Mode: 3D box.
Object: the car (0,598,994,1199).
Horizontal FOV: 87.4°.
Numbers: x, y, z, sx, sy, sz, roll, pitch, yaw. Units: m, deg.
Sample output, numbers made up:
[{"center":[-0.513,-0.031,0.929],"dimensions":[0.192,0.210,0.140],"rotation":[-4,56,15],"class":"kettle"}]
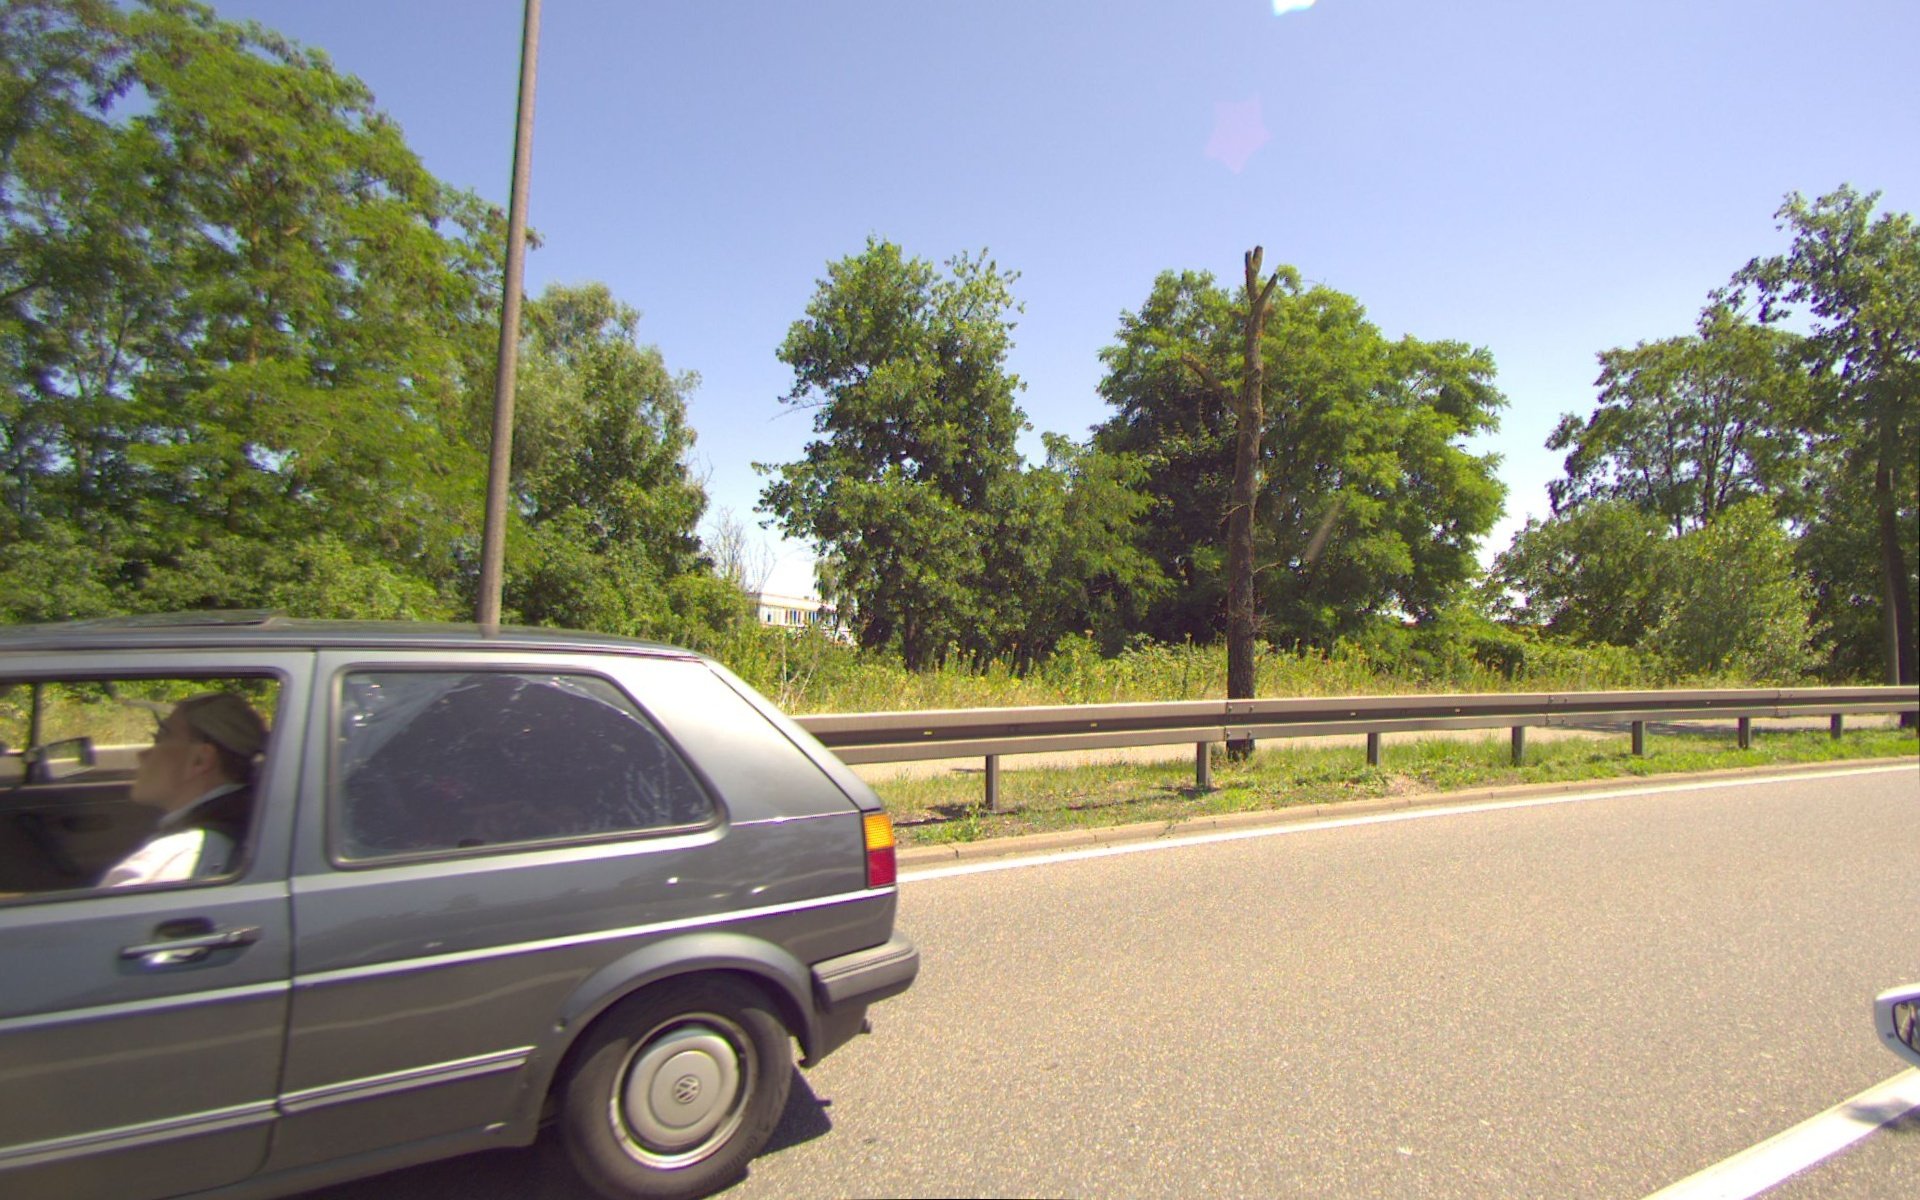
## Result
[{"center":[-1.962,0.708,2.485],"dimensions":[3.841,1.390,1.549],"rotation":[2,0,-29],"class":"car"}]
